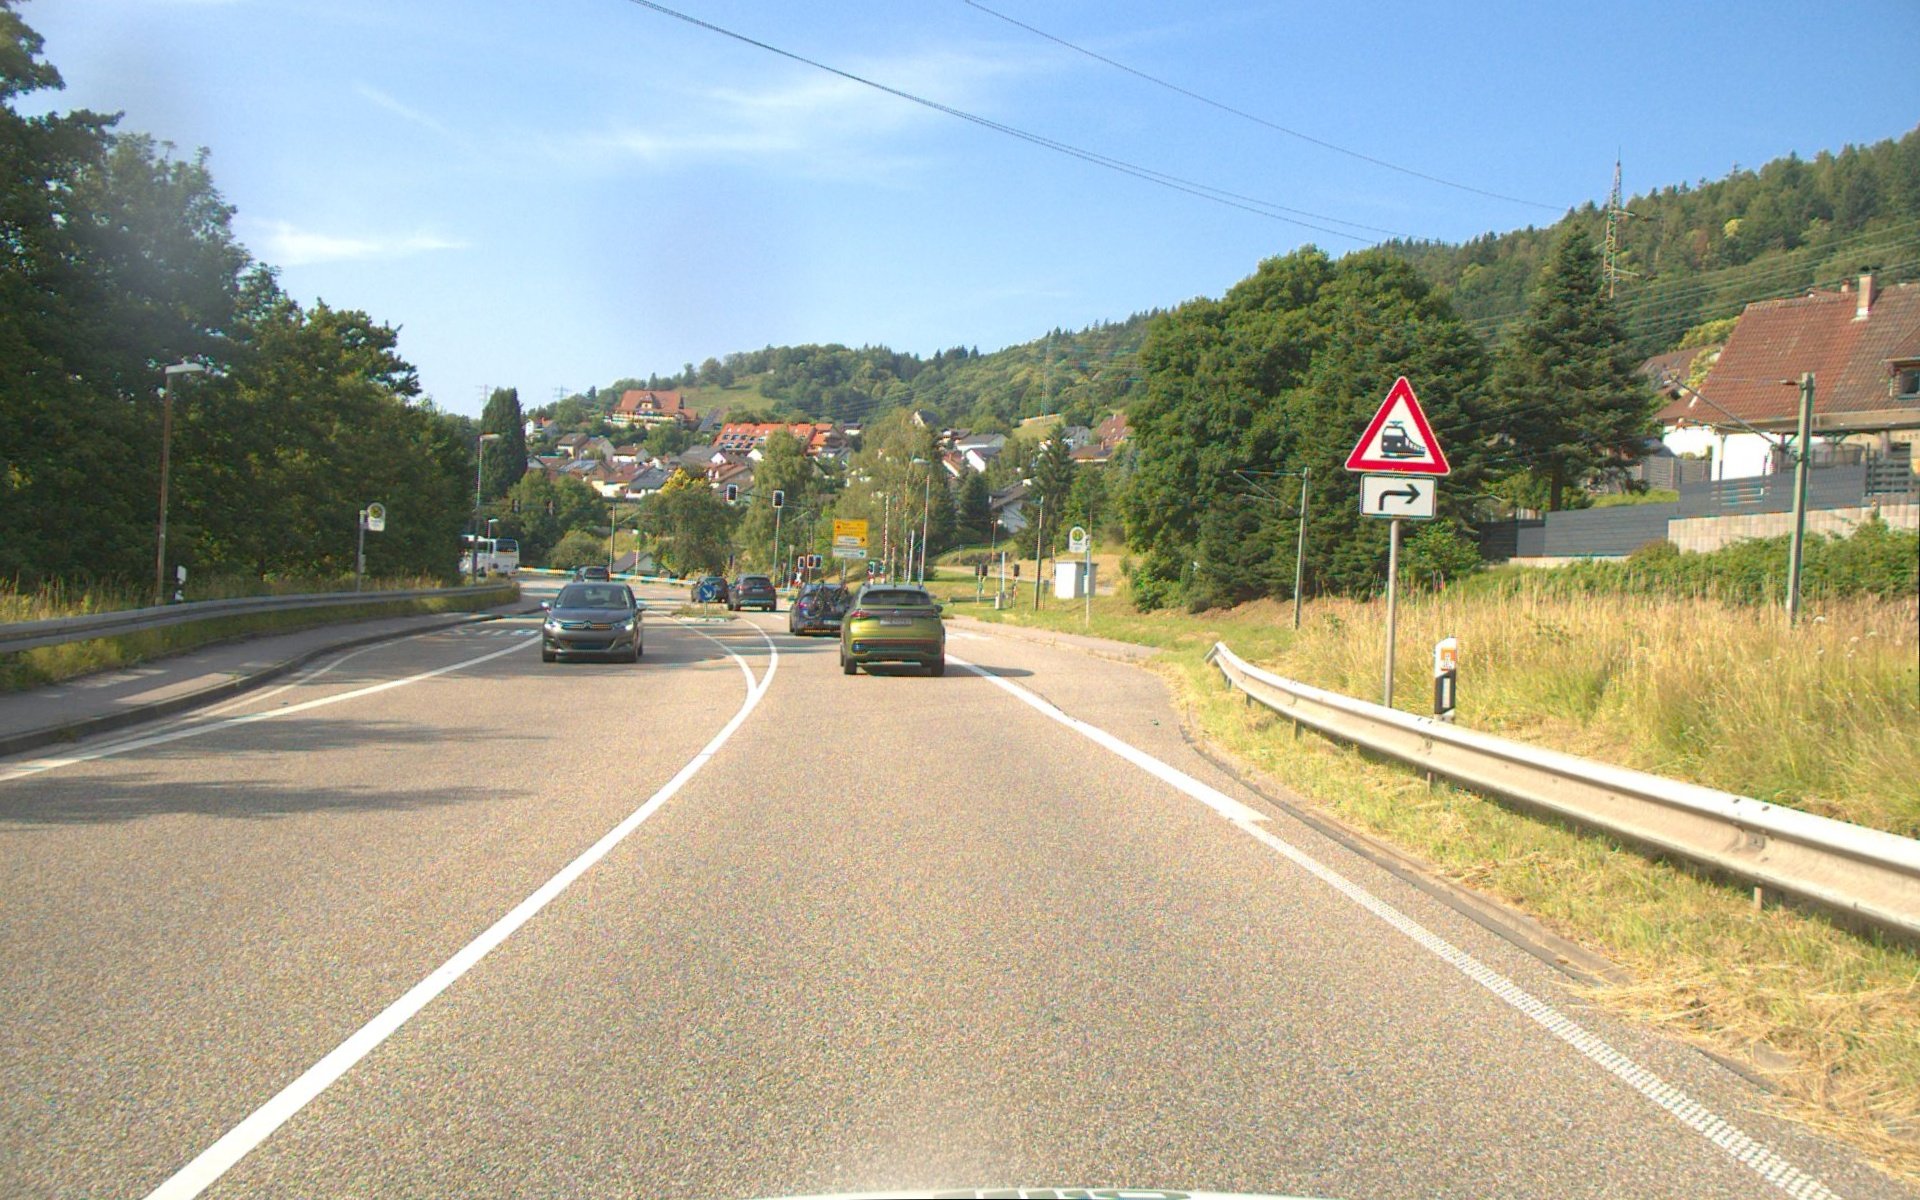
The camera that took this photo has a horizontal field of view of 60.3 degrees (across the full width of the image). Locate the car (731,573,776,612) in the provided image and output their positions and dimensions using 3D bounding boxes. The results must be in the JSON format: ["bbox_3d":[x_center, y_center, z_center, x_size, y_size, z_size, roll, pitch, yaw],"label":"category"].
[{"bbox_3d":[-9.432,-0.345,75.338,1.846,1.716,3.991,1,0,-10],"label":"car"}]

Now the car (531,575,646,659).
[{"bbox_3d":[-7.136,0.304,32.083,1.855,1.514,3.993,0,0,-8],"label":"car"}]

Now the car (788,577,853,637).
[{"bbox_3d":[-3.987,0.177,46.824,1.636,1.586,3.993,1,0,-8],"label":"car"}]

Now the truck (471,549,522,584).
[{"bbox_3d":[-44.624,-3.240,159.119,2.690,3.137,6.032,2,1,-36],"label":"truck"}]

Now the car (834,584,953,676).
[{"bbox_3d":[-1.230,0.470,28.904,1.682,1.480,3.993,1,0,-8],"label":"car"}]

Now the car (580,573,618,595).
[{"bbox_3d":[-31.701,-1.399,145.118,1.975,1.775,3.955,2,1,-33],"label":"car"}]

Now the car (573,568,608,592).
[{"bbox_3d":[-29.496,-1.615,131.938,2.036,1.843,3.971,1,1,-23],"label":"car"}]

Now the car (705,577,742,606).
[{"bbox_3d":[-13.319,-0.483,92.932,1.816,1.553,3.651,0,1,-12],"label":"car"}]
